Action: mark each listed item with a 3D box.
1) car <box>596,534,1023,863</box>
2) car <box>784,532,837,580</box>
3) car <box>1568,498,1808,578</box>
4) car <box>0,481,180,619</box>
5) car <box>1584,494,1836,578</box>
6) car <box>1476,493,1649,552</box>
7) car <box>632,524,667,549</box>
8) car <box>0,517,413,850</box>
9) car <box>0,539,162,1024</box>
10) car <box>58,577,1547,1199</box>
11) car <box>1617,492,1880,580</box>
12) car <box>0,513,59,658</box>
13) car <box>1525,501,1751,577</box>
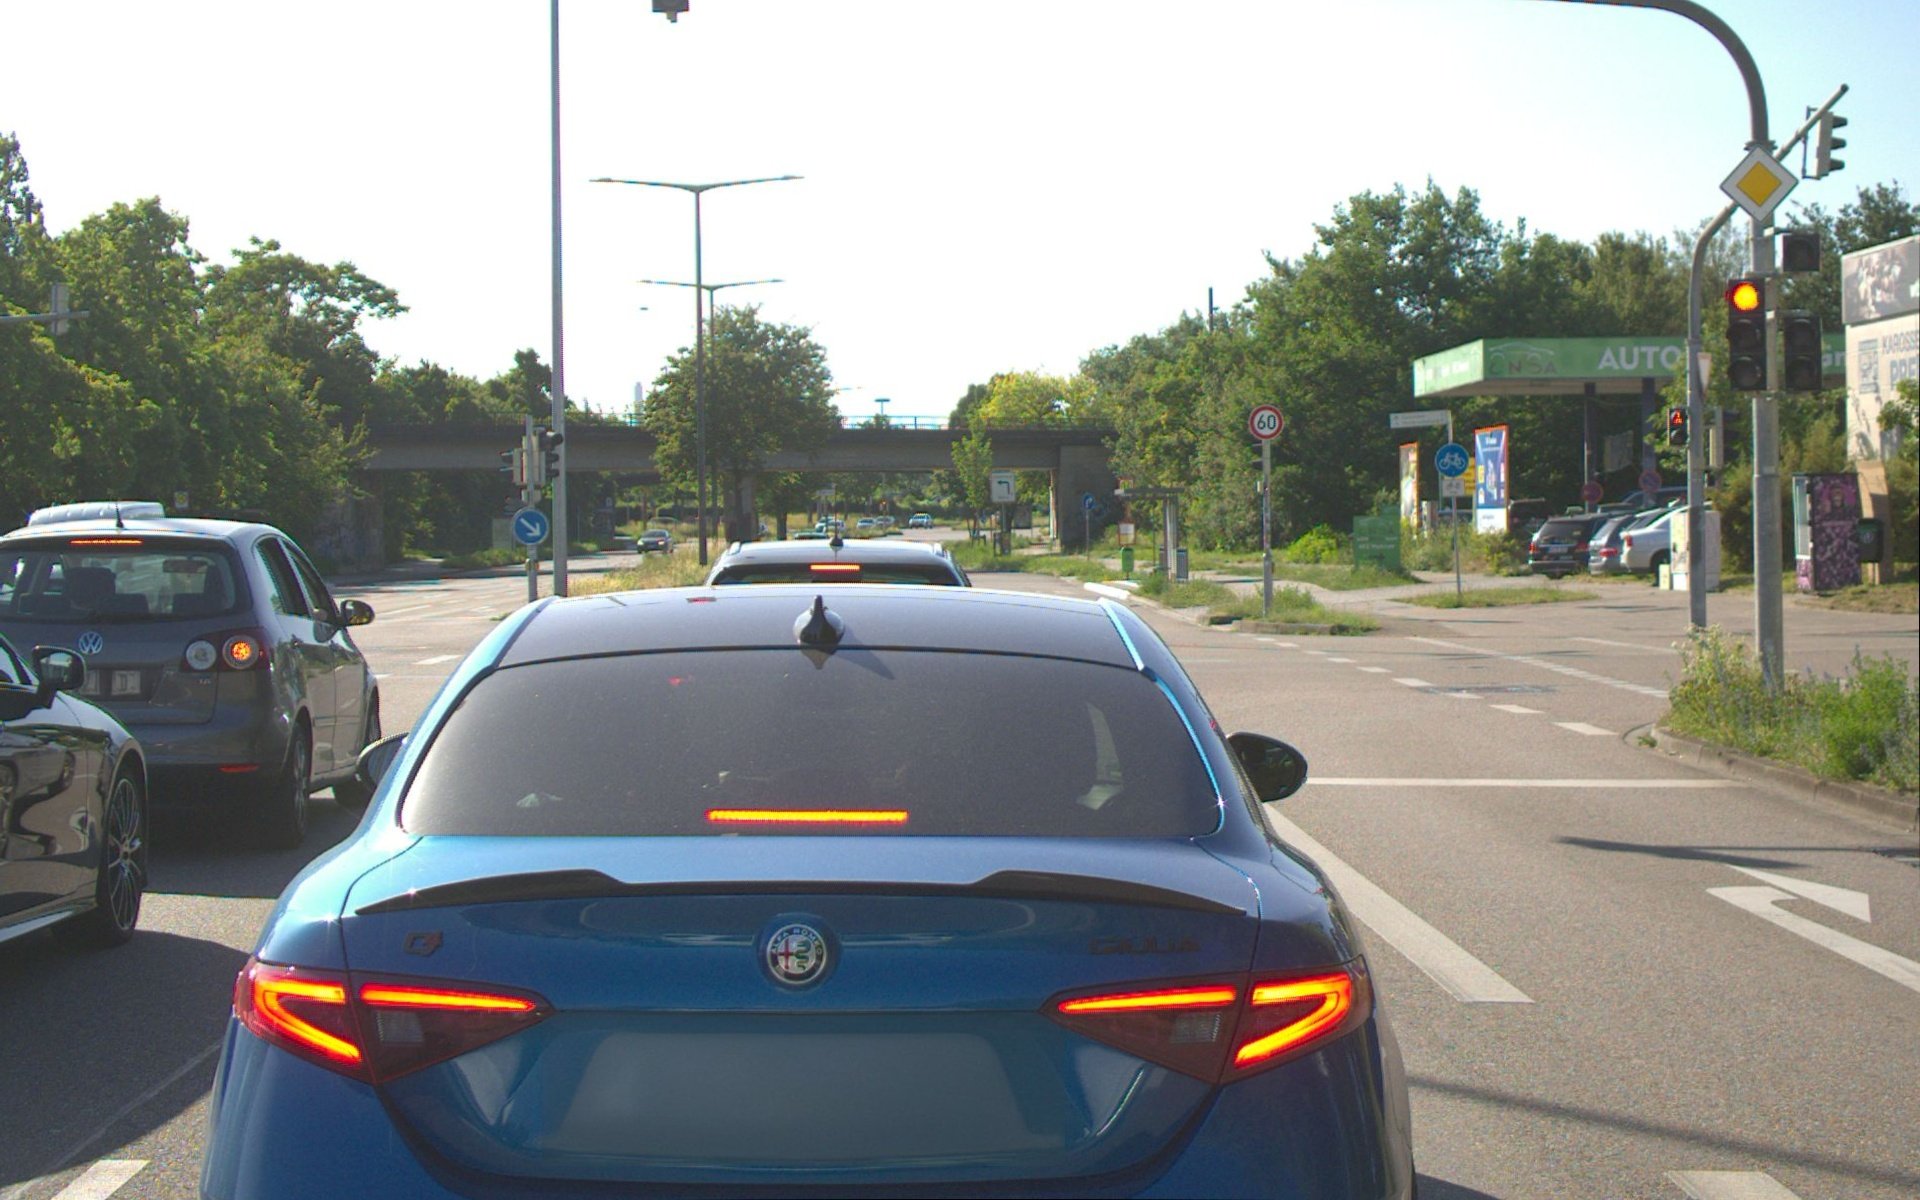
[{"bbox_3d":[-0.721,0.409,17.236,1.850,1.413,4.403,1,1,-2],"label":"car"},{"bbox_3d":[-5.753,-1.691,132.848,1.891,1.809,4.000,1,1,-1],"label":"car"},{"bbox_3d":[14.809,-1.260,70.100,4.489,1.449,1.858,-2,1,1],"label":"car"},{"bbox_3d":[-16.832,-0.969,66.720,2.022,2.439,5.822,-4,1,-1],"label":"car"},{"bbox_3d":[14.653,-1.243,67.346,4.489,1.449,1.858,-2,1,1],"label":"car"},{"bbox_3d":[17.036,-2.188,97.314,4.551,1.485,1.765,-2,1,1],"label":"car"},{"bbox_3d":[-19.651,-3.999,217.757,1.759,1.485,4.478,-2,1,0],"label":"car"},{"bbox_3d":[-3.997,0.351,17.713,1.759,1.485,4.403,1,1,-2],"label":"car"},{"bbox_3d":[-3.832,0.544,10.614,1.796,1.485,4.476,1,1,-2],"label":"car"},{"bbox_3d":[-0.265,0.684,6.603,1.895,1.413,4.403,1,1,-2],"label":"car"},{"bbox_3d":[14.770,-1.205,64.567,4.489,1.449,1.858,-2,1,1],"label":"car"},{"bbox_3d":[-11.998,-0.080,36.337,4.411,1.485,1.765,-2,1,1],"label":"car"},{"bbox_3d":[14.589,-1.308,74.150,4.489,1.449,1.858,-2,1,1],"label":"car"}]
